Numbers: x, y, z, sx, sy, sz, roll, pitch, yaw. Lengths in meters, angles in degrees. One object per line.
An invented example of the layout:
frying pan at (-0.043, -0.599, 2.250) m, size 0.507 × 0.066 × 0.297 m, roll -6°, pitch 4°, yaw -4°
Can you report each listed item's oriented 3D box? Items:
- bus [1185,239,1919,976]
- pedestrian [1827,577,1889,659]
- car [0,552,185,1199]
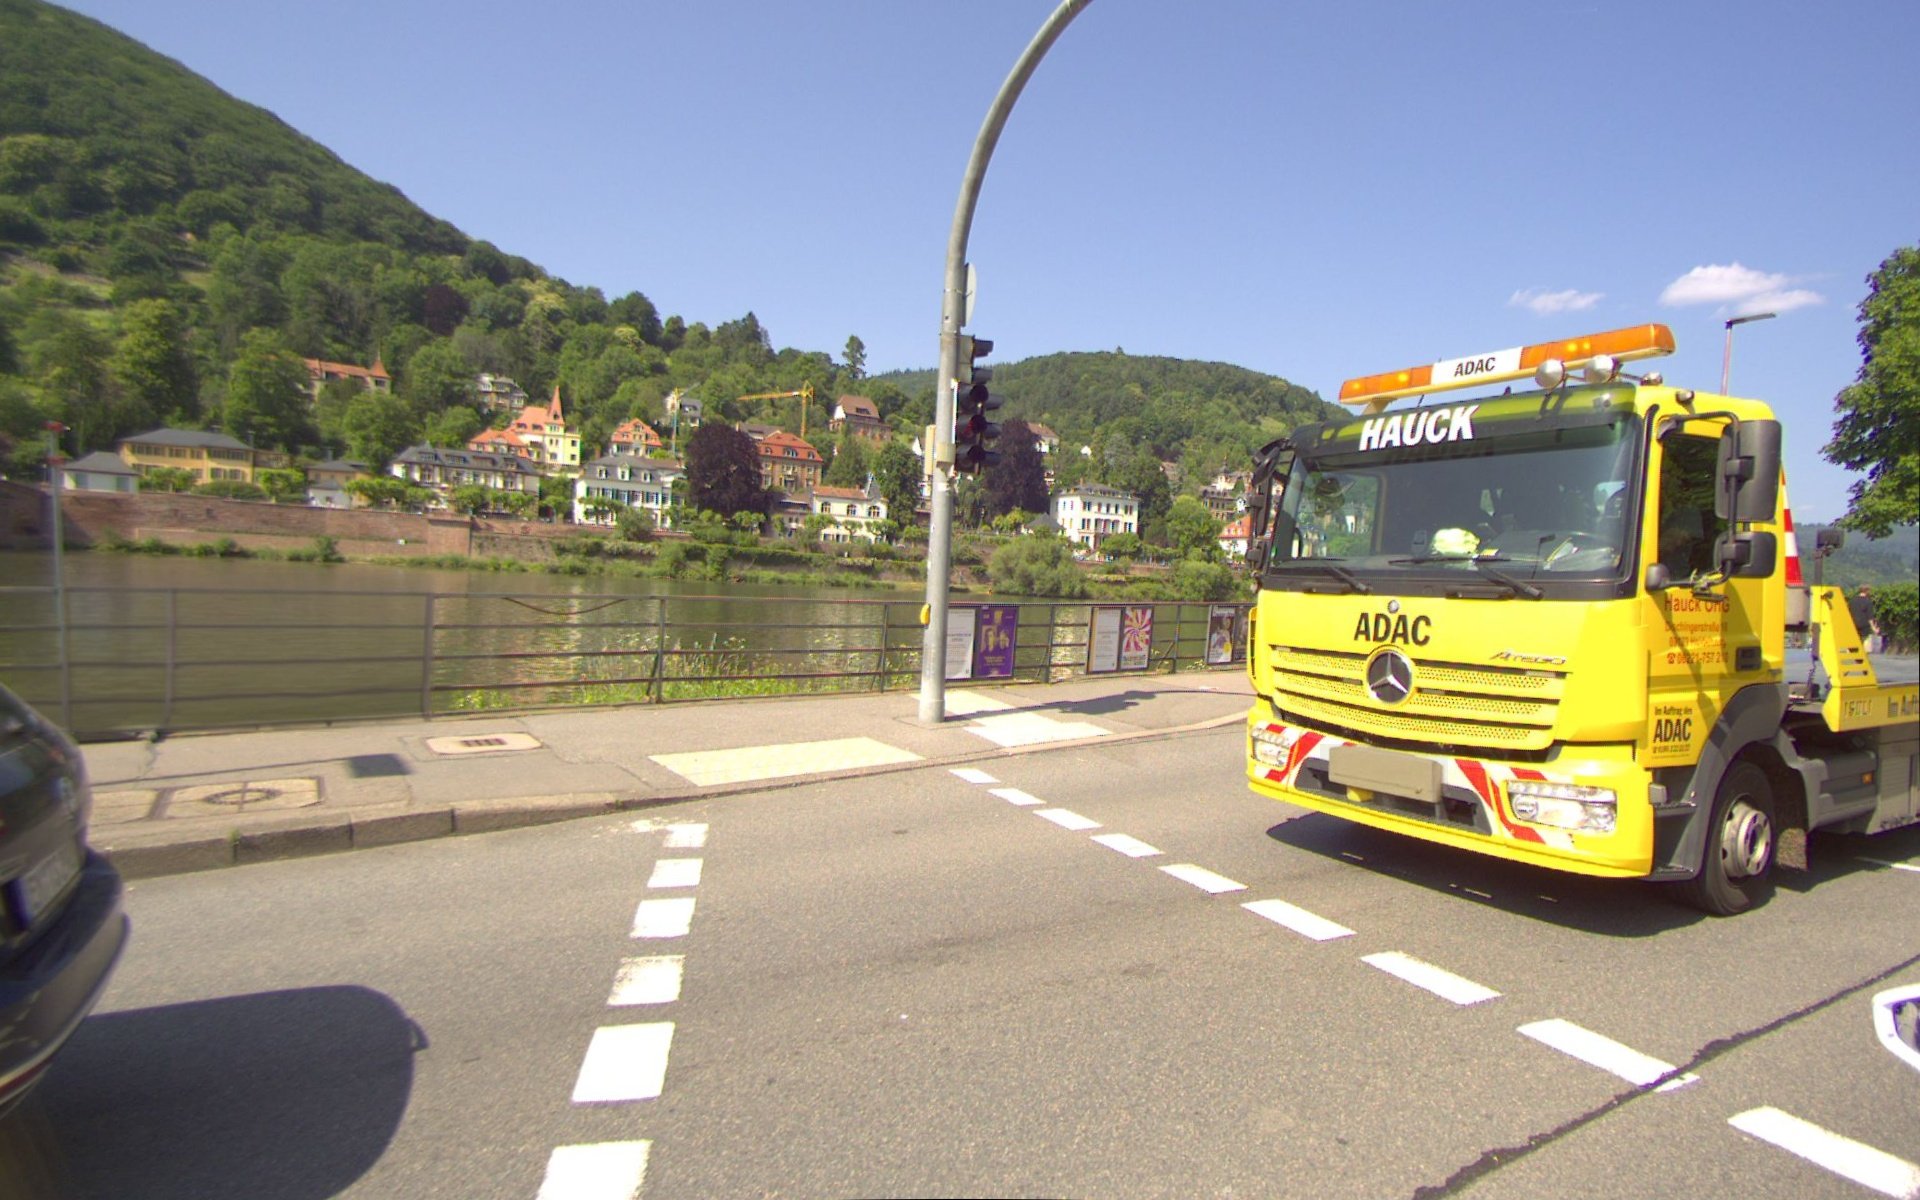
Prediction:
bus at (5.674, 0.087, 7.260) m, size 8.349 × 2.935 × 2.584 m, roll 1°, pitch 1°, yaw -31°
pedestrian at (21.972, 0.439, 24.580) m, size 0.997 × 1.943 × 0.750 m, roll 3°, pitch 1°, yaw -29°
car at (-3.949, 0.571, 1.436) m, size 4.309 × 1.425 × 1.798 m, roll 1°, pitch 2°, yaw -32°
